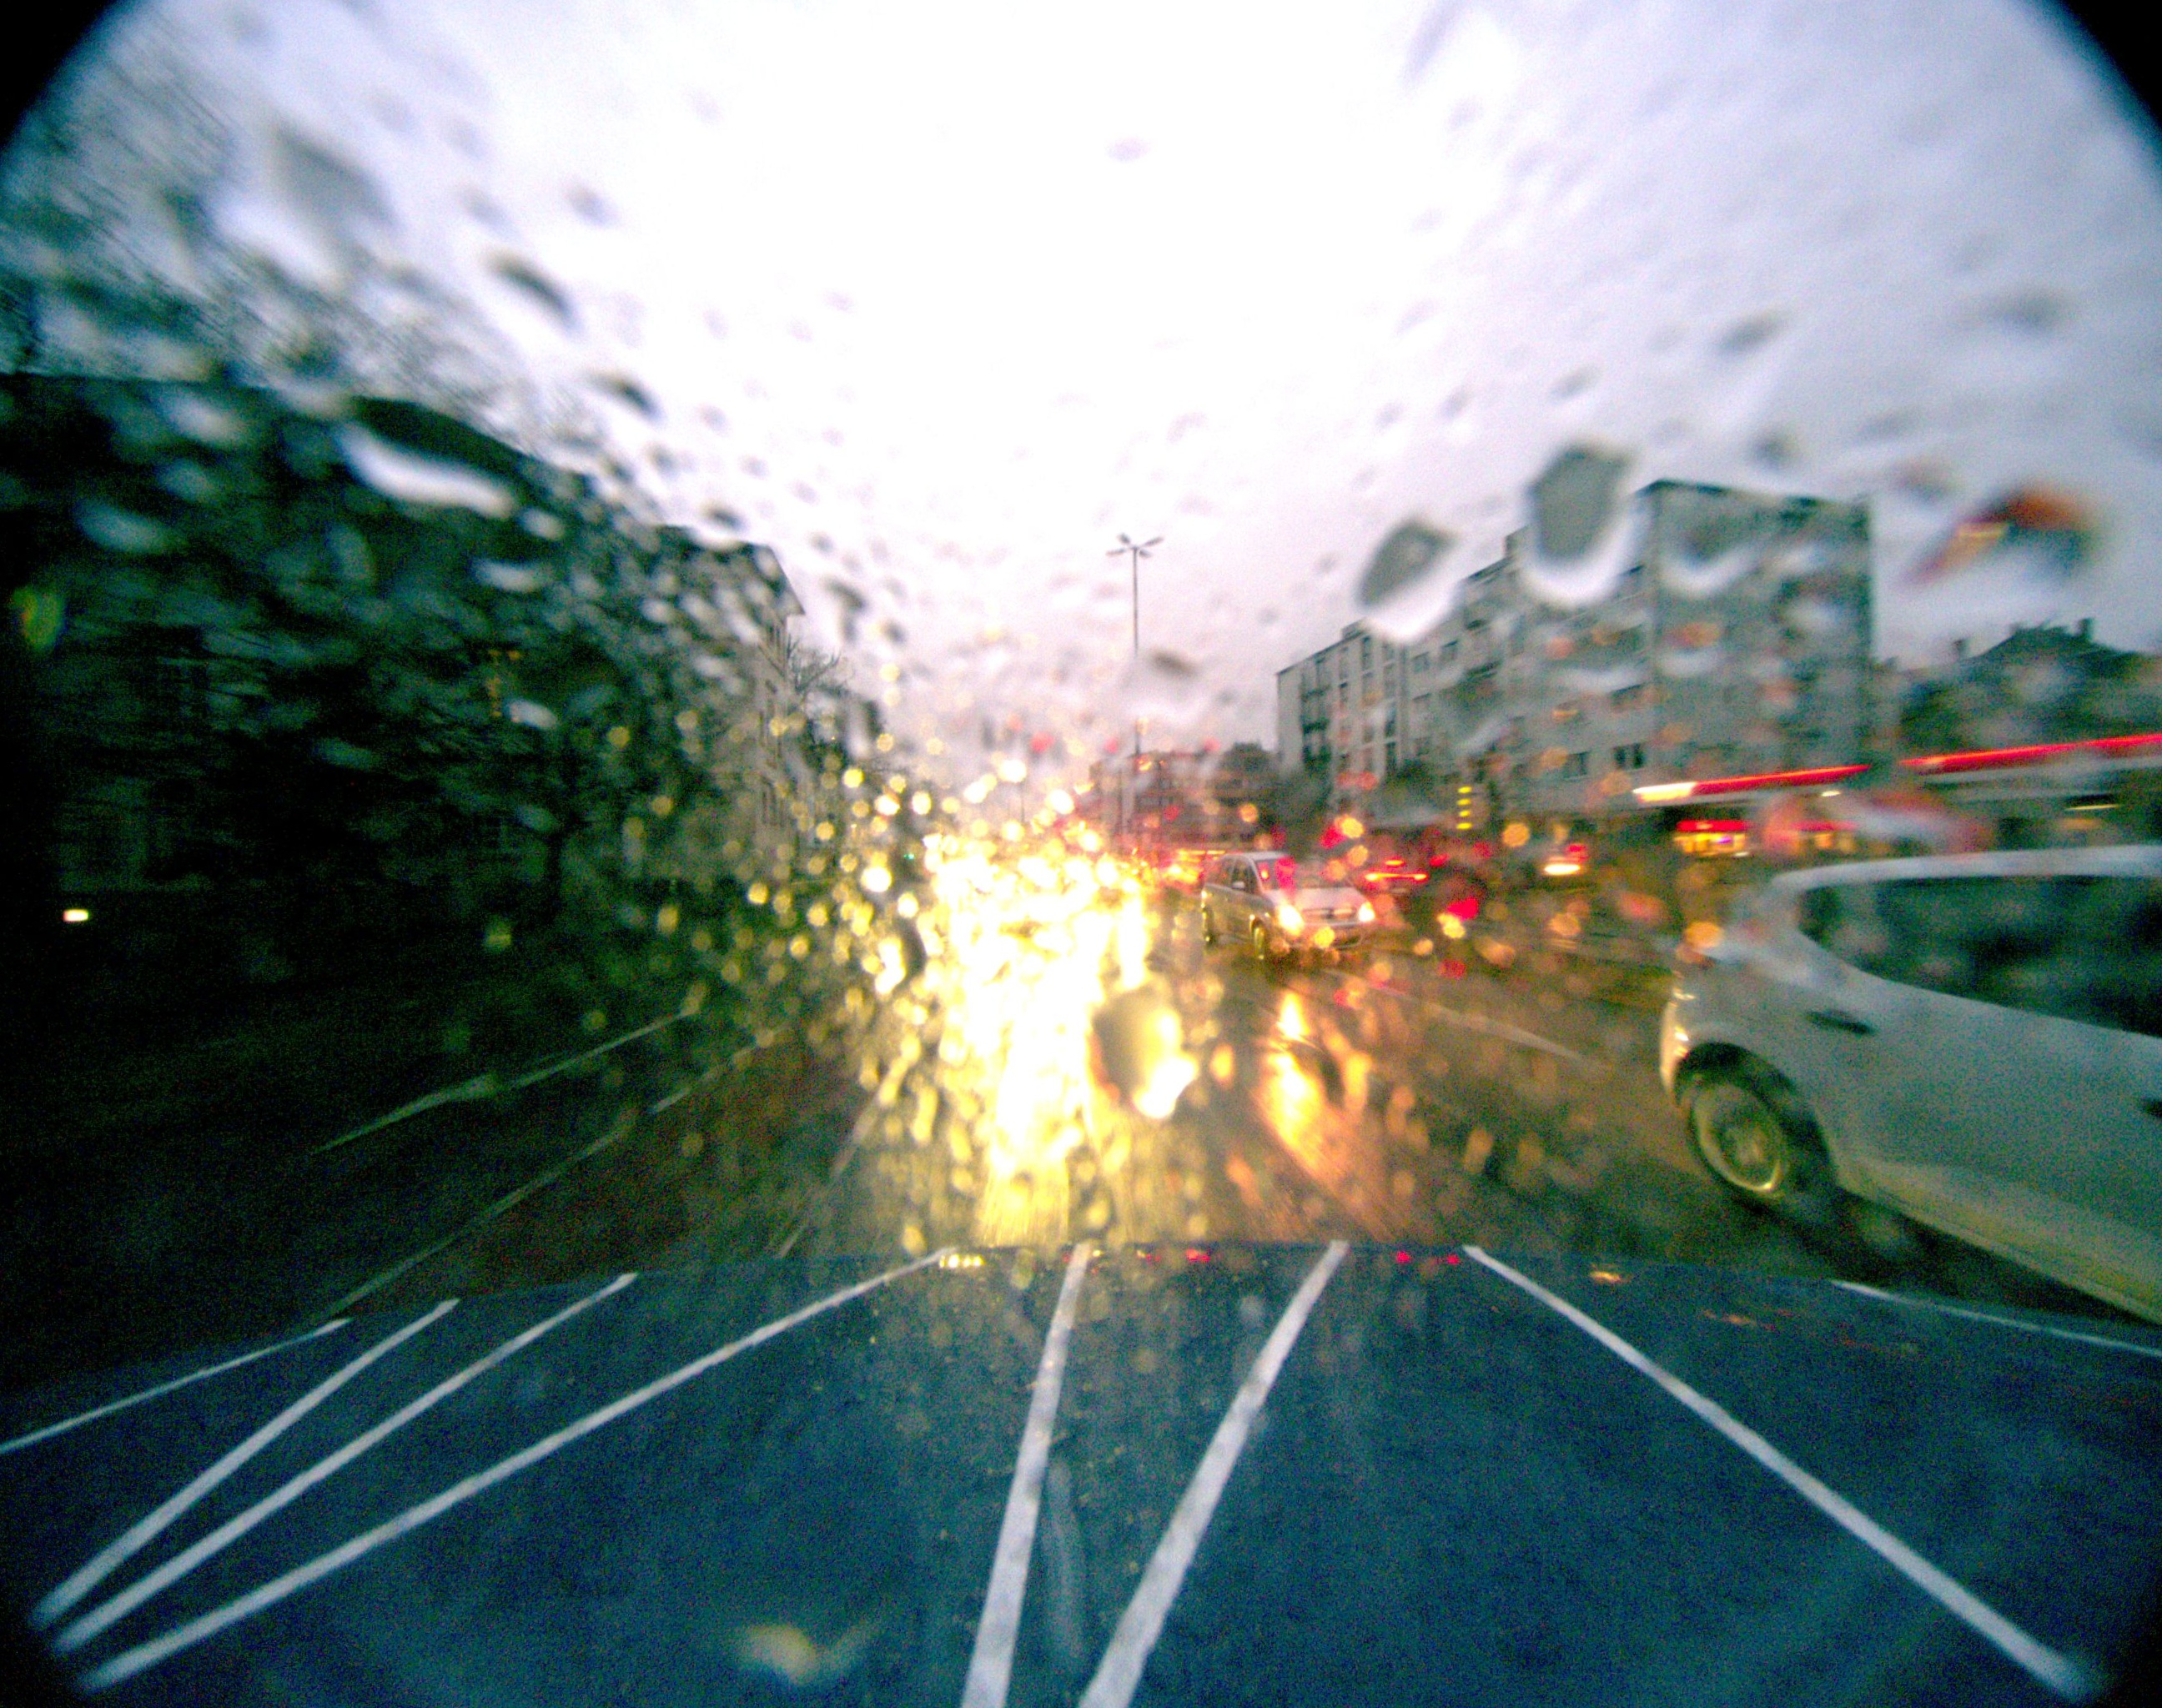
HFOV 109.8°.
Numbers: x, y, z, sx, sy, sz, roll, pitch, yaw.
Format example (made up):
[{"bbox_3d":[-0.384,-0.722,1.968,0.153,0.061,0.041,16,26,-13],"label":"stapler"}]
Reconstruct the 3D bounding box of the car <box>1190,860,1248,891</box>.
[{"bbox_3d":[6.764,1.034,37.720,1.650,1.478,3.998,0,-1,-8],"label":"car"}]

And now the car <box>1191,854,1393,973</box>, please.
[{"bbox_3d":[3.134,0.797,12.232,1.650,1.539,4.107,-1,0,-7],"label":"car"}]

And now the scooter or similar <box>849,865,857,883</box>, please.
[{"bbox_3d":[-15.524,1.376,51.737,0.442,1.196,1.079,-2,0,-19],"label":"scooter or similar"}]

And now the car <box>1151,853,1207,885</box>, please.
[{"bbox_3d":[5.707,0.867,44.887,1.969,1.772,4.530,0,-1,-11],"label":"car"}]

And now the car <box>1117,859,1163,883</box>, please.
[{"bbox_3d":[3.969,1.141,51.807,1.969,1.505,4.530,0,-1,-11],"label":"car"}]

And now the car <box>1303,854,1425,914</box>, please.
[{"bbox_3d":[8.510,0.861,23.364,1.650,1.620,4.658,0,-1,-5],"label":"car"}]

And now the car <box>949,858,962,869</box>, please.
[{"bbox_3d":[-20.313,1.519,122.513,2.000,1.693,3.997,-2,0,-10],"label":"car"}]

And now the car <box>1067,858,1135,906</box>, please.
[{"bbox_3d":[0.621,0.929,26.746,1.754,1.535,3.997,0,0,-8],"label":"car"}]

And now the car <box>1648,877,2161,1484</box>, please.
[{"bbox_3d":[3.541,0.833,1.586,1.630,1.478,4.000,-1,-1,-2],"label":"car"}]

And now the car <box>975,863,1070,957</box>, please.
[{"bbox_3d":[-1.289,1.022,15.527,1.650,1.575,3.802,-2,0,-7],"label":"car"}]

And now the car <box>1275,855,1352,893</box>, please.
[{"bbox_3d":[10.368,0.876,34.194,1.650,1.557,4.278,0,-1,-8],"label":"car"}]

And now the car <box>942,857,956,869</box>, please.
[{"bbox_3d":[-20.180,1.354,115.795,2.000,1.685,3.997,-2,0,-10],"label":"car"}]

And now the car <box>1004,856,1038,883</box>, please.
[{"bbox_3d":[-4.063,1.022,51.181,1.821,1.732,4.182,0,0,-11],"label":"car"}]

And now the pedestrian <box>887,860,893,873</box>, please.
[{"bbox_3d":[-23.756,1.531,94.443,0.656,1.579,0.561,-2,0,-19],"label":"pedestrian"}]

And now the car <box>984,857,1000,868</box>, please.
[{"bbox_3d":[-13.631,1.290,116.231,2.000,1.599,3.997,-2,0,-10],"label":"car"}]

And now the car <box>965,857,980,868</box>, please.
[{"bbox_3d":[-16.573,1.323,116.153,2.000,1.525,3.997,-2,0,-10],"label":"car"}]
